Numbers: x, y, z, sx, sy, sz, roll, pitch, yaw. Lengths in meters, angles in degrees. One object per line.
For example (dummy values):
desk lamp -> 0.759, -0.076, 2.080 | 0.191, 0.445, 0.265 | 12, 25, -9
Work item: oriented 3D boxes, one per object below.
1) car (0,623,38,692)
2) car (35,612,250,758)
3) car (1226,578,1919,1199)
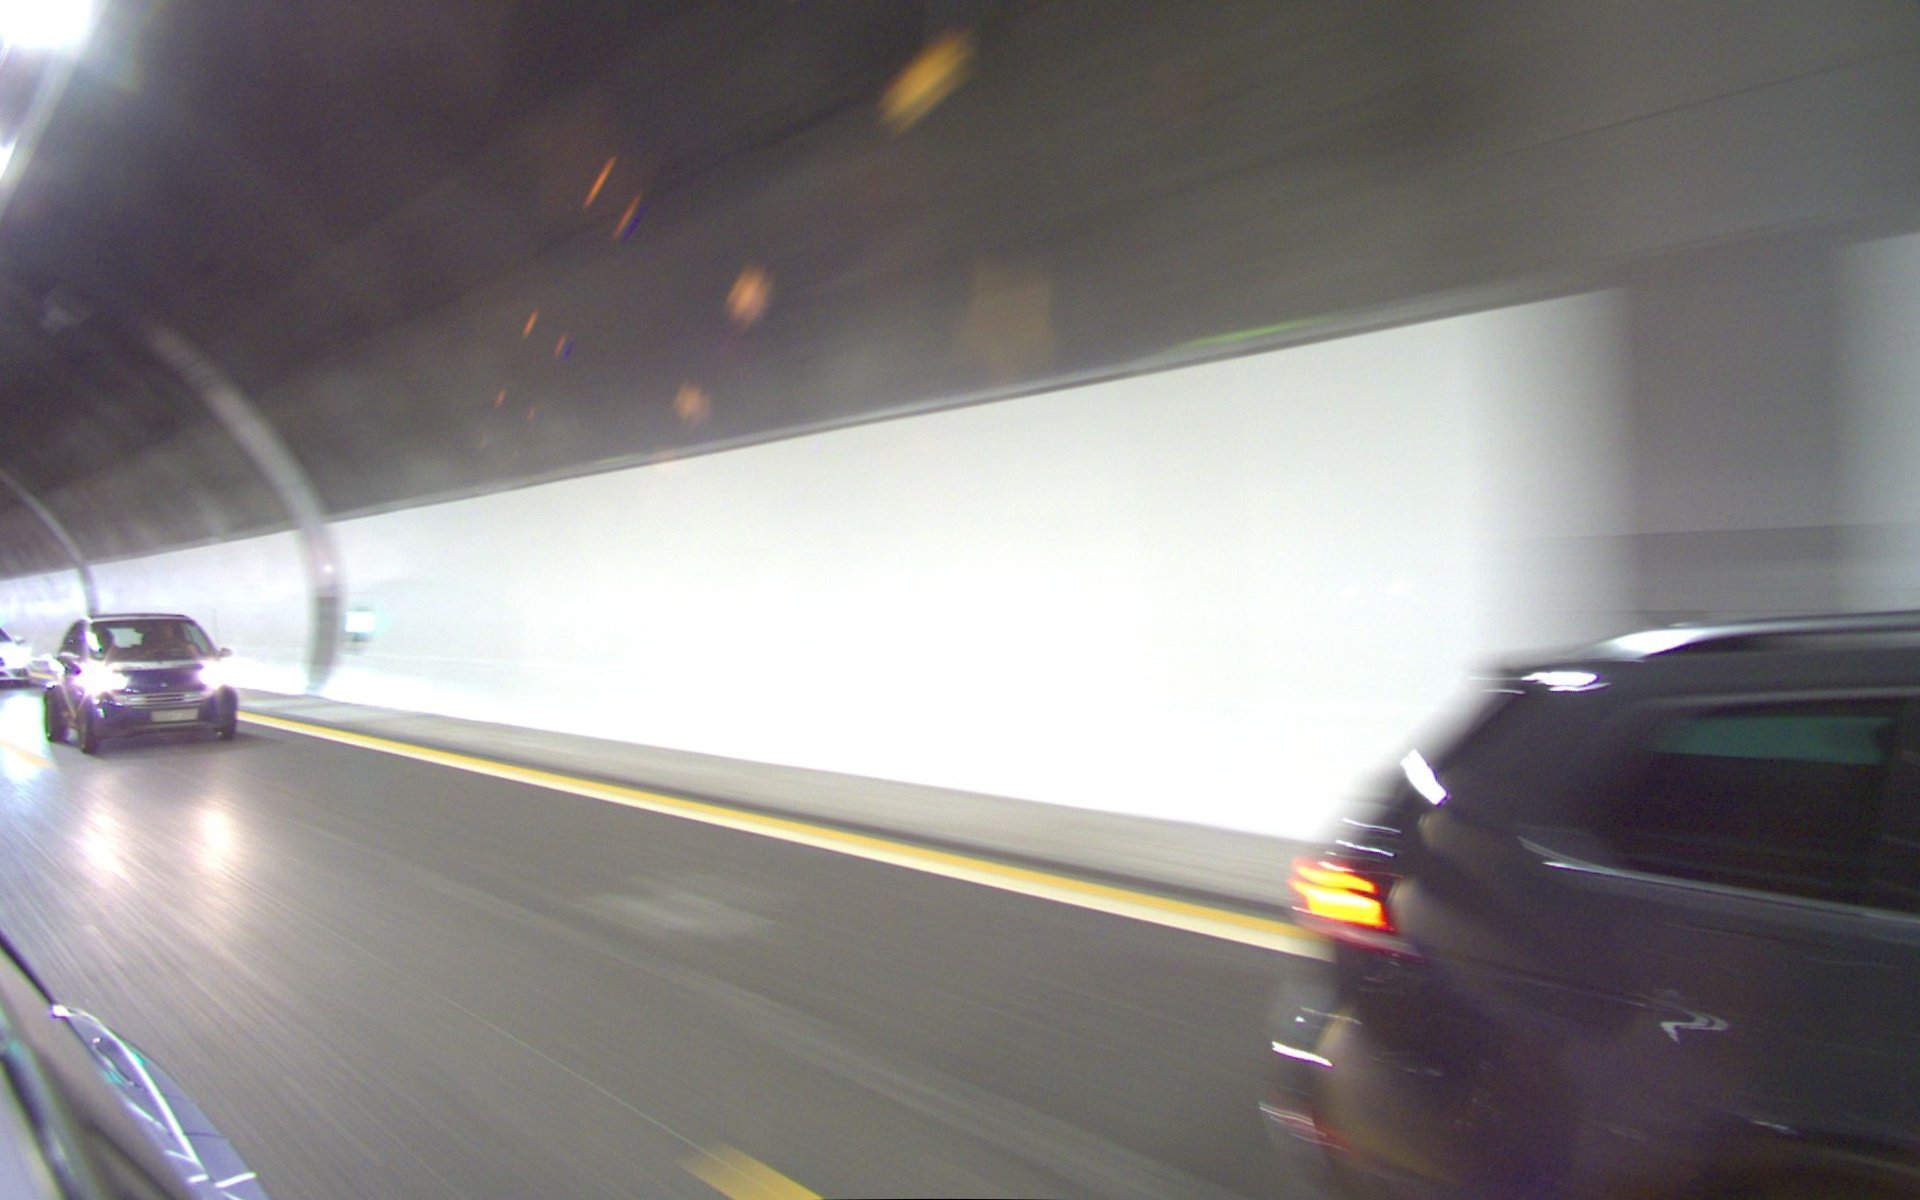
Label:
car -> -21.892, 1.257, 22.294 | 4.058, 1.431, 1.885 | -1, -1, 41
car -> -9.868, 0.936, 12.180 | 2.649, 1.528, 1.512 | -1, -1, 39
car -> 2.932, 0.658, 1.021 | 4.881, 1.449, 1.759 | -1, 0, 42
